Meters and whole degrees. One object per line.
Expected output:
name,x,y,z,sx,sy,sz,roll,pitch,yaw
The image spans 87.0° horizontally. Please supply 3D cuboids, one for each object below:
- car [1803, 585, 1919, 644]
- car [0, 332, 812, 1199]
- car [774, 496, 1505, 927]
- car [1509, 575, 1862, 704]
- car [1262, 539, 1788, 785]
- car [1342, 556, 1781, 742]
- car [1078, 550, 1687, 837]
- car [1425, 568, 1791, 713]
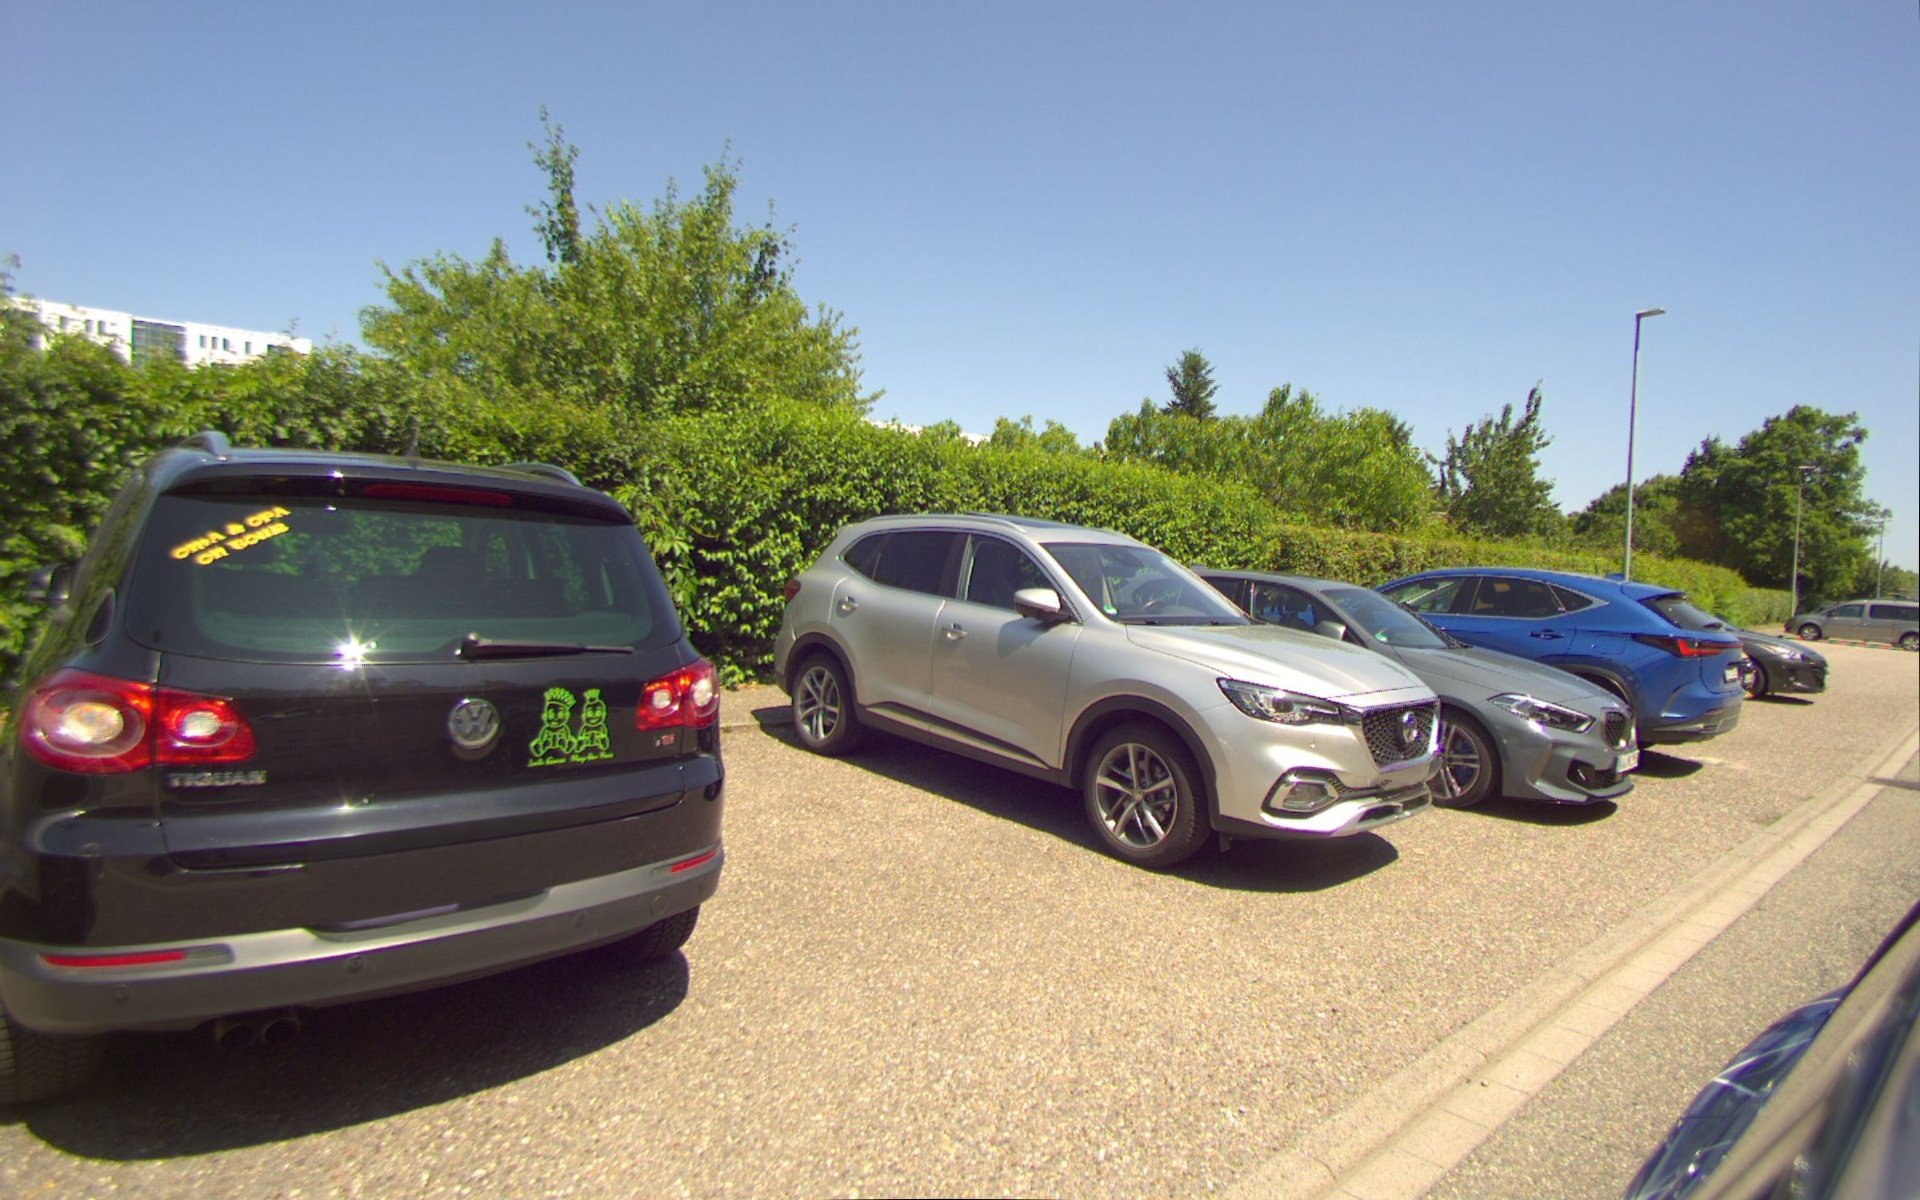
car,35.498,0.593,38.906,1.668,1.872,4.487,1,5,-44
car,-2.403,0.220,3.859,1.735,1.706,3.983,1,4,-40
car,0.754,0.309,6.256,1.746,1.661,4.168,1,5,-42
car,11.429,0.518,16.222,1.620,1.434,4.253,1,5,-40
car,5.205,0.397,9.813,1.644,1.661,4.037,1,5,-40
car,6.849,0.421,11.907,1.620,1.532,4.037,1,5,-40
car,3.029,0.481,7.972,1.650,1.425,4.036,1,5,-41
car,9.114,0.461,14.533,1.620,1.463,4.037,1,5,-40
